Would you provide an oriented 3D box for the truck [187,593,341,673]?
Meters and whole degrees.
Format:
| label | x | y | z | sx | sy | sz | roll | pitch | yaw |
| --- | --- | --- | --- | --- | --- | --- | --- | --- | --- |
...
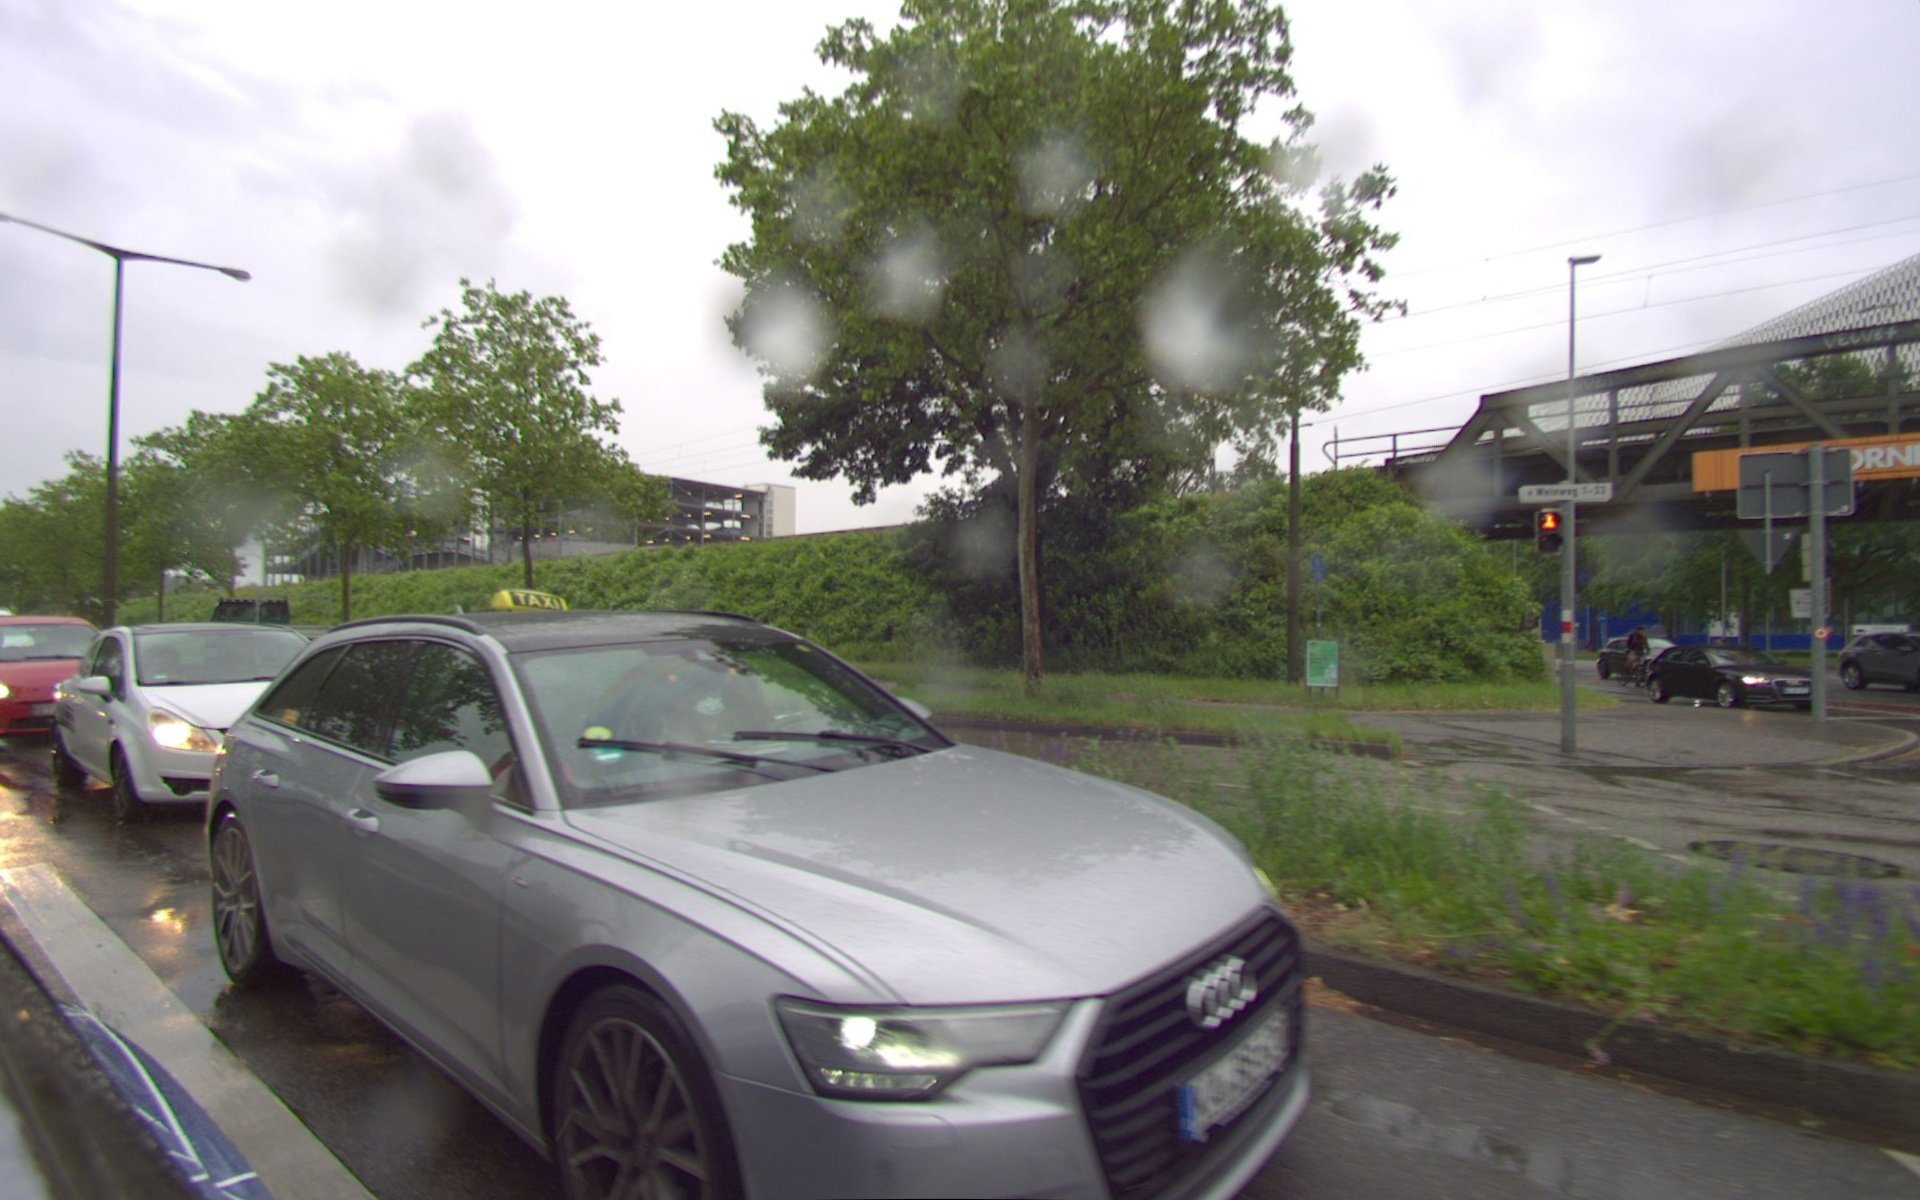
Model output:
| label | x | y | z | sx | sy | sz | roll | pitch | yaw |
| --- | --- | --- | --- | --- | --- | --- | --- | --- | --- |
| truck | -23.156 | 1.076 | 33.542 | 6.862 | 2.383 | 2.449 | -1 | -2 | 40 |

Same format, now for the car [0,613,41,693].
| label | x | y | z | sx | sy | sz | roll | pitch | yaw |
| --- | --- | --- | --- | --- | --- | --- | --- | --- | --- |
| car | -21.337 | 1.122 | 21.764 | 4.144 | 1.624 | 1.808 | -1 | 0 | 40 |

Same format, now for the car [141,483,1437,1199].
| label | x | y | z | sx | sy | sz | roll | pitch | yaw |
| --- | --- | --- | --- | --- | --- | --- | --- | --- | --- |
| car | -1.169 | 0.681 | 3.517 | 4.817 | 1.586 | 1.751 | -1 | 0 | 40 |

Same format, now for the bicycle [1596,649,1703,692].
| label | x | y | z | sx | sy | sz | roll | pitch | yaw |
| --- | --- | --- | --- | --- | --- | --- | --- | --- | --- |
| bicycle | 21.117 | 2.129 | 31.152 | 1.185 | 1.213 | 3.443 | 0 | -2 | 6 |

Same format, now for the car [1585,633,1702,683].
| label | x | y | z | sx | sy | sz | roll | pitch | yaw |
| --- | --- | --- | --- | --- | --- | --- | --- | --- | --- |
| car | 23.539 | 1.954 | 35.022 | 1.634 | 1.612 | 3.903 | 0 | -2 | 6 |

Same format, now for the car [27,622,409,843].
| label | x | y | z | sx | sy | sz | roll | pitch | yaw |
| --- | --- | --- | --- | --- | --- | --- | --- | --- | --- |
| car | -6.361 | 0.914 | 8.512 | 4.007 | 1.387 | 1.662 | -1 | 0 | 40 |

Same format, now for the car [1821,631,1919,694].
| label | x | y | z | sx | sy | sz | roll | pitch | yaw |
| --- | --- | --- | --- | --- | --- | --- | --- | --- | --- |
| car | 25.846 | 1.648 | 26.964 | 1.859 | 1.612 | 4.945 | 0 | -2 | 5 |

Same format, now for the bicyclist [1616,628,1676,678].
| label | x | y | z | sx | sy | sz | roll | pitch | yaw |
| --- | --- | --- | --- | --- | --- | --- | --- | --- | --- |
| bicyclist | 21.121 | 1.612 | 31.172 | 1.138 | 1.495 | 1.055 | 0 | -2 | 6 |

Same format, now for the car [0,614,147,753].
| label | x | y | z | sx | sy | sz | roll | pitch | yaw |
| --- | --- | --- | --- | --- | --- | --- | --- | --- | --- |
| car | -11.649 | 0.953 | 12.601 | 4.090 | 1.476 | 1.701 | -1 | 0 | 41 |

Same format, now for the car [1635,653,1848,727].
| label | x | y | z | sx | sy | sz | roll | pitch | yaw |
| --- | --- | --- | --- | --- | --- | --- | --- | --- | --- |
| car | 17.407 | 1.951 | 22.838 | 1.671 | 1.445 | 4.143 | -1 | -2 | 3 |
